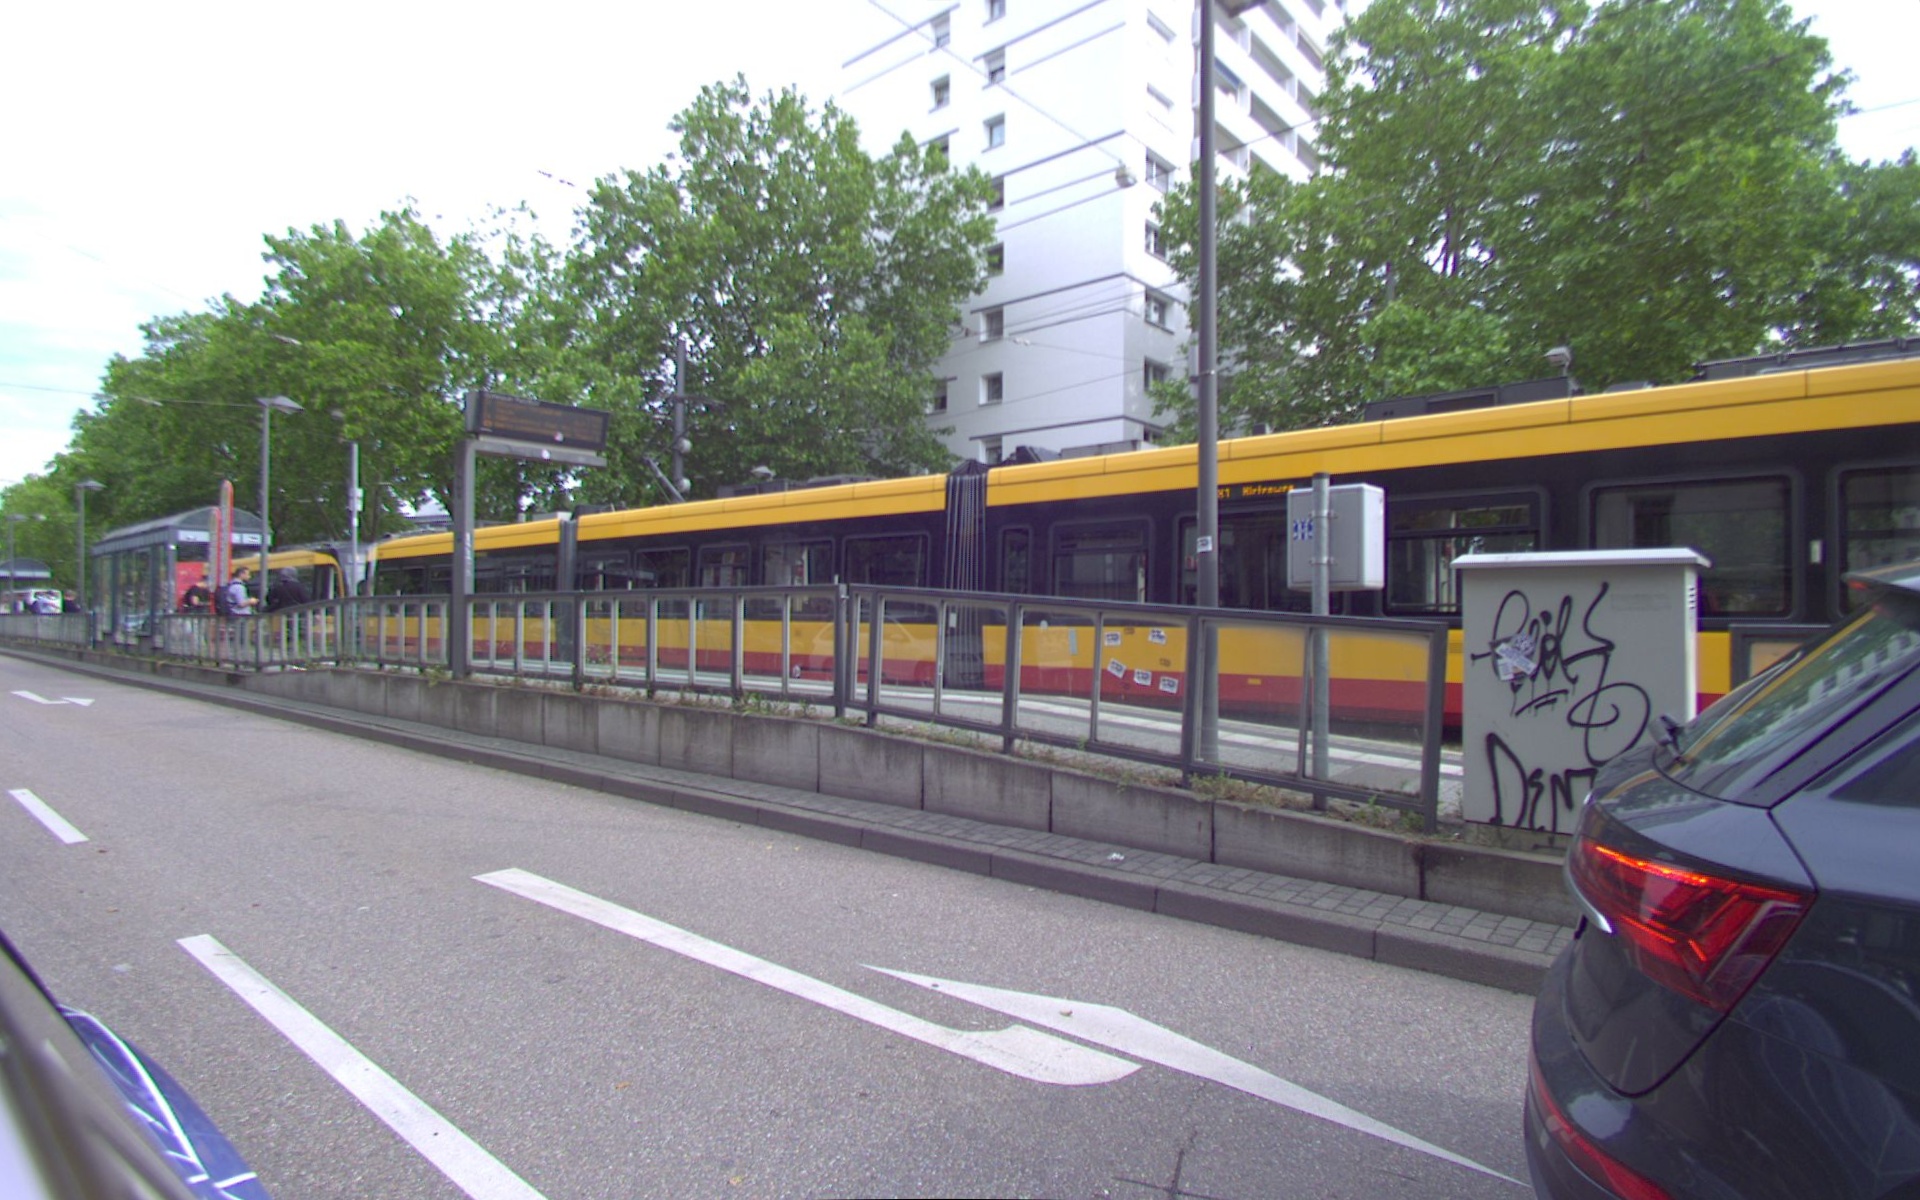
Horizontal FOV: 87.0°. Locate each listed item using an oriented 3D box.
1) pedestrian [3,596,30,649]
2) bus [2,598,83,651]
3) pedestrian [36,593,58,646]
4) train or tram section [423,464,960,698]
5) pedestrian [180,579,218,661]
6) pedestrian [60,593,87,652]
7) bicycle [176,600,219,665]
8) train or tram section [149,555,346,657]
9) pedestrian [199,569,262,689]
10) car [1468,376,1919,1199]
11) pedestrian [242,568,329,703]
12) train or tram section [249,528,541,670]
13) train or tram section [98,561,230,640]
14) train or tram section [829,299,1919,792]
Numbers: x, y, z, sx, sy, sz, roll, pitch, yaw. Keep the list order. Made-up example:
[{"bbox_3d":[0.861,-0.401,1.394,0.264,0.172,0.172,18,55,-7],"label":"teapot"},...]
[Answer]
[{"bbox_3d":[-36.860,0.881,39.537,0.587,2.029,0.668,-1,0,38],"label":"pedestrian"},{"bbox_3d":[-37.019,0.958,40.817,3.998,2.029,1.973,-1,0,41],"label":"bus"},{"bbox_3d":[-28.772,0.621,31.890,0.392,1.645,0.474,-1,0,42],"label":"pedestrian"},{"bbox_3d":[-6.738,-0.251,21.525,15.287,3.558,3.028,-1,0,41],"label":"train or tram section"},{"bbox_3d":[-15.662,0.405,20.829,0.471,1.645,0.526,-1,0,39],"label":"pedestrian"},{"bbox_3d":[-25.203,0.641,28.771,0.730,1.645,0.506,-1,0,42],"label":"pedestrian"},{"bbox_3d":[-15.062,0.628,19.980,1.289,1.231,0.414,-1,0,41],"label":"bicycle"},{"bbox_3d":[-29.886,0.253,41.874,15.764,3.558,3.028,-1,0,41],"label":"train or tram section"},{"bbox_3d":[-12.631,0.482,17.538,0.742,2.029,0.821,-1,0,-26],"label":"pedestrian"},{"bbox_3d":[3.003,0.533,0.792,4.354,1.613,1.861,-1,-1,40],"label":"car"},{"bbox_3d":[-10.383,0.533,15.596,0.808,2.029,0.754,-1,0,4],"label":"pedestrian"},{"bbox_3d":[-18.226,0.015,31.637,15.287,3.558,3.028,-1,0,41],"label":"train or tram section"},{"bbox_3d":[-40.494,0.053,51.250,12.534,3.588,3.060,-1,0,41],"label":"train or tram section"},{"bbox_3d":[4.965,-0.384,11.244,15.841,3.615,3.028,-1,0,41],"label":"train or tram section"}]
